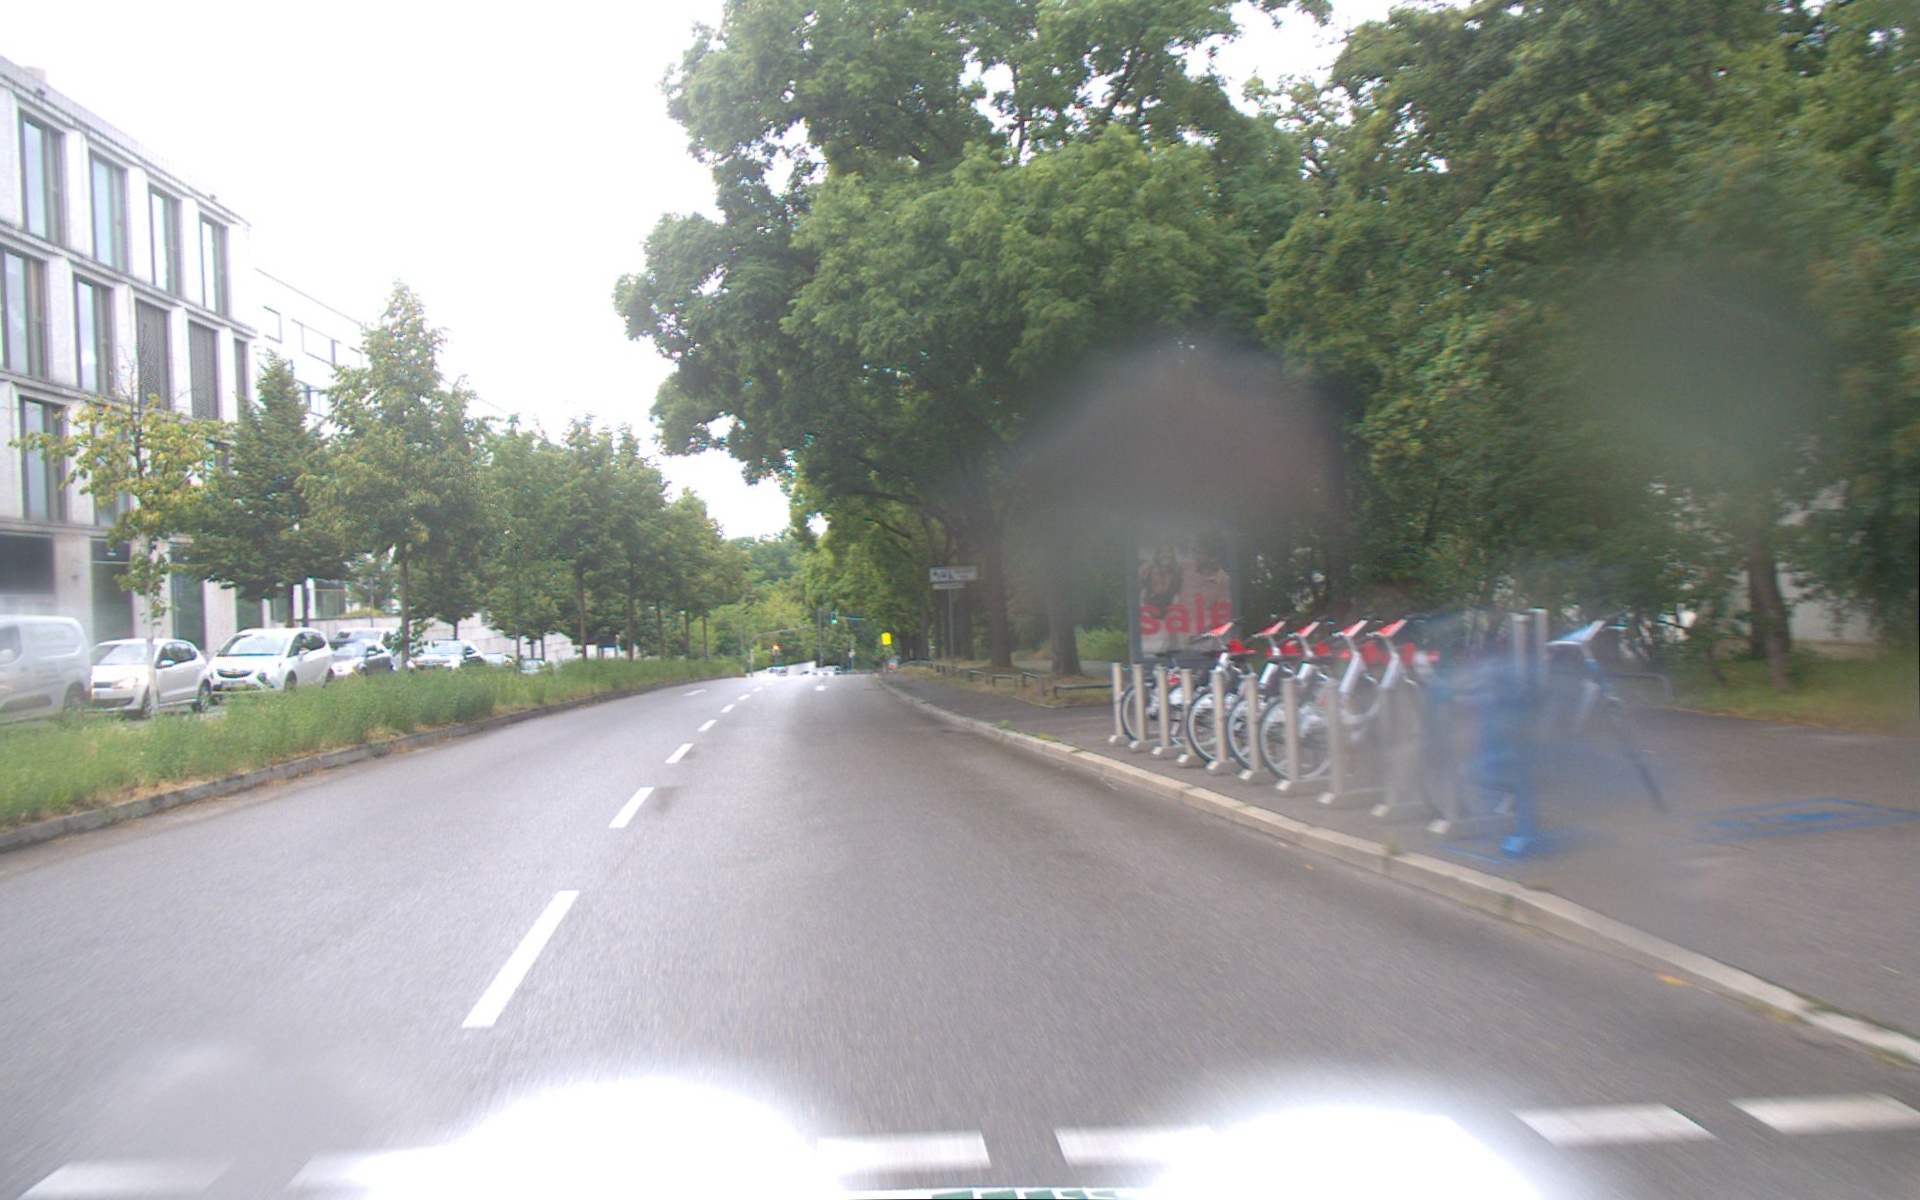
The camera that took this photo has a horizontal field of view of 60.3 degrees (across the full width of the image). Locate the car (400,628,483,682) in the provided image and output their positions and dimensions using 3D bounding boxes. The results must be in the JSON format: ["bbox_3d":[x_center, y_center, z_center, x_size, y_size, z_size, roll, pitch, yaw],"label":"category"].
[{"bbox_3d":[-16.784,1.748,53.705,1.661,1.609,4.014,-2,0,-4],"label":"car"}]

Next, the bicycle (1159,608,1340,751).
[{"bbox_3d":[2.655,0.718,15.208,1.459,1.151,0.555,-5,-1,-11],"label":"bicycle"}]

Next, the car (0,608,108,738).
[{"bbox_3d":[-14.946,1.091,25.048,1.807,1.833,4.770,-1,1,-3],"label":"car"}]

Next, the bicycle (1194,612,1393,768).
[{"bbox_3d":[2.795,0.744,13.920,1.459,1.151,0.555,-5,-1,-11],"label":"bicycle"}]

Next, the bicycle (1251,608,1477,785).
[{"bbox_3d":[3.001,0.702,12.323,1.459,1.151,0.555,-5,-1,-11],"label":"bicycle"}]

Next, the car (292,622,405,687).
[{"bbox_3d":[-16.130,1.407,43.813,1.609,1.435,3.994,-3,1,-3],"label":"car"}]

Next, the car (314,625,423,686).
[{"bbox_3d":[-19.560,1.830,54.947,2.080,1.848,5.254,-2,-2,-5],"label":"car"}]

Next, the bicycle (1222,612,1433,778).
[{"bbox_3d":[2.912,0.741,13.149,1.459,1.151,0.555,-5,-1,-11],"label":"bicycle"}]

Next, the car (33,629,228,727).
[{"bbox_3d":[-15.400,1.396,30.960,1.709,1.493,4.058,-3,1,-3],"label":"car"}]

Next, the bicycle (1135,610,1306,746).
[{"bbox_3d":[2.516,0.746,16.028,1.459,1.151,0.555,-5,-1,-11],"label":"bicycle"}]

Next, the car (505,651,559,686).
[{"bbox_3d":[-20.762,3.299,80.385,1.661,1.469,3.858,-2,0,-1],"label":"car"}]

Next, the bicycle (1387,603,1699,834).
[{"bbox_3d":[3.388,0.668,9.647,1.567,1.151,0.555,-5,-1,-11],"label":"bicycle"}]

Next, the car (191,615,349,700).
[{"bbox_3d":[-15.675,1.250,37.872,1.793,1.628,4.671,-3,1,-3],"label":"car"}]
